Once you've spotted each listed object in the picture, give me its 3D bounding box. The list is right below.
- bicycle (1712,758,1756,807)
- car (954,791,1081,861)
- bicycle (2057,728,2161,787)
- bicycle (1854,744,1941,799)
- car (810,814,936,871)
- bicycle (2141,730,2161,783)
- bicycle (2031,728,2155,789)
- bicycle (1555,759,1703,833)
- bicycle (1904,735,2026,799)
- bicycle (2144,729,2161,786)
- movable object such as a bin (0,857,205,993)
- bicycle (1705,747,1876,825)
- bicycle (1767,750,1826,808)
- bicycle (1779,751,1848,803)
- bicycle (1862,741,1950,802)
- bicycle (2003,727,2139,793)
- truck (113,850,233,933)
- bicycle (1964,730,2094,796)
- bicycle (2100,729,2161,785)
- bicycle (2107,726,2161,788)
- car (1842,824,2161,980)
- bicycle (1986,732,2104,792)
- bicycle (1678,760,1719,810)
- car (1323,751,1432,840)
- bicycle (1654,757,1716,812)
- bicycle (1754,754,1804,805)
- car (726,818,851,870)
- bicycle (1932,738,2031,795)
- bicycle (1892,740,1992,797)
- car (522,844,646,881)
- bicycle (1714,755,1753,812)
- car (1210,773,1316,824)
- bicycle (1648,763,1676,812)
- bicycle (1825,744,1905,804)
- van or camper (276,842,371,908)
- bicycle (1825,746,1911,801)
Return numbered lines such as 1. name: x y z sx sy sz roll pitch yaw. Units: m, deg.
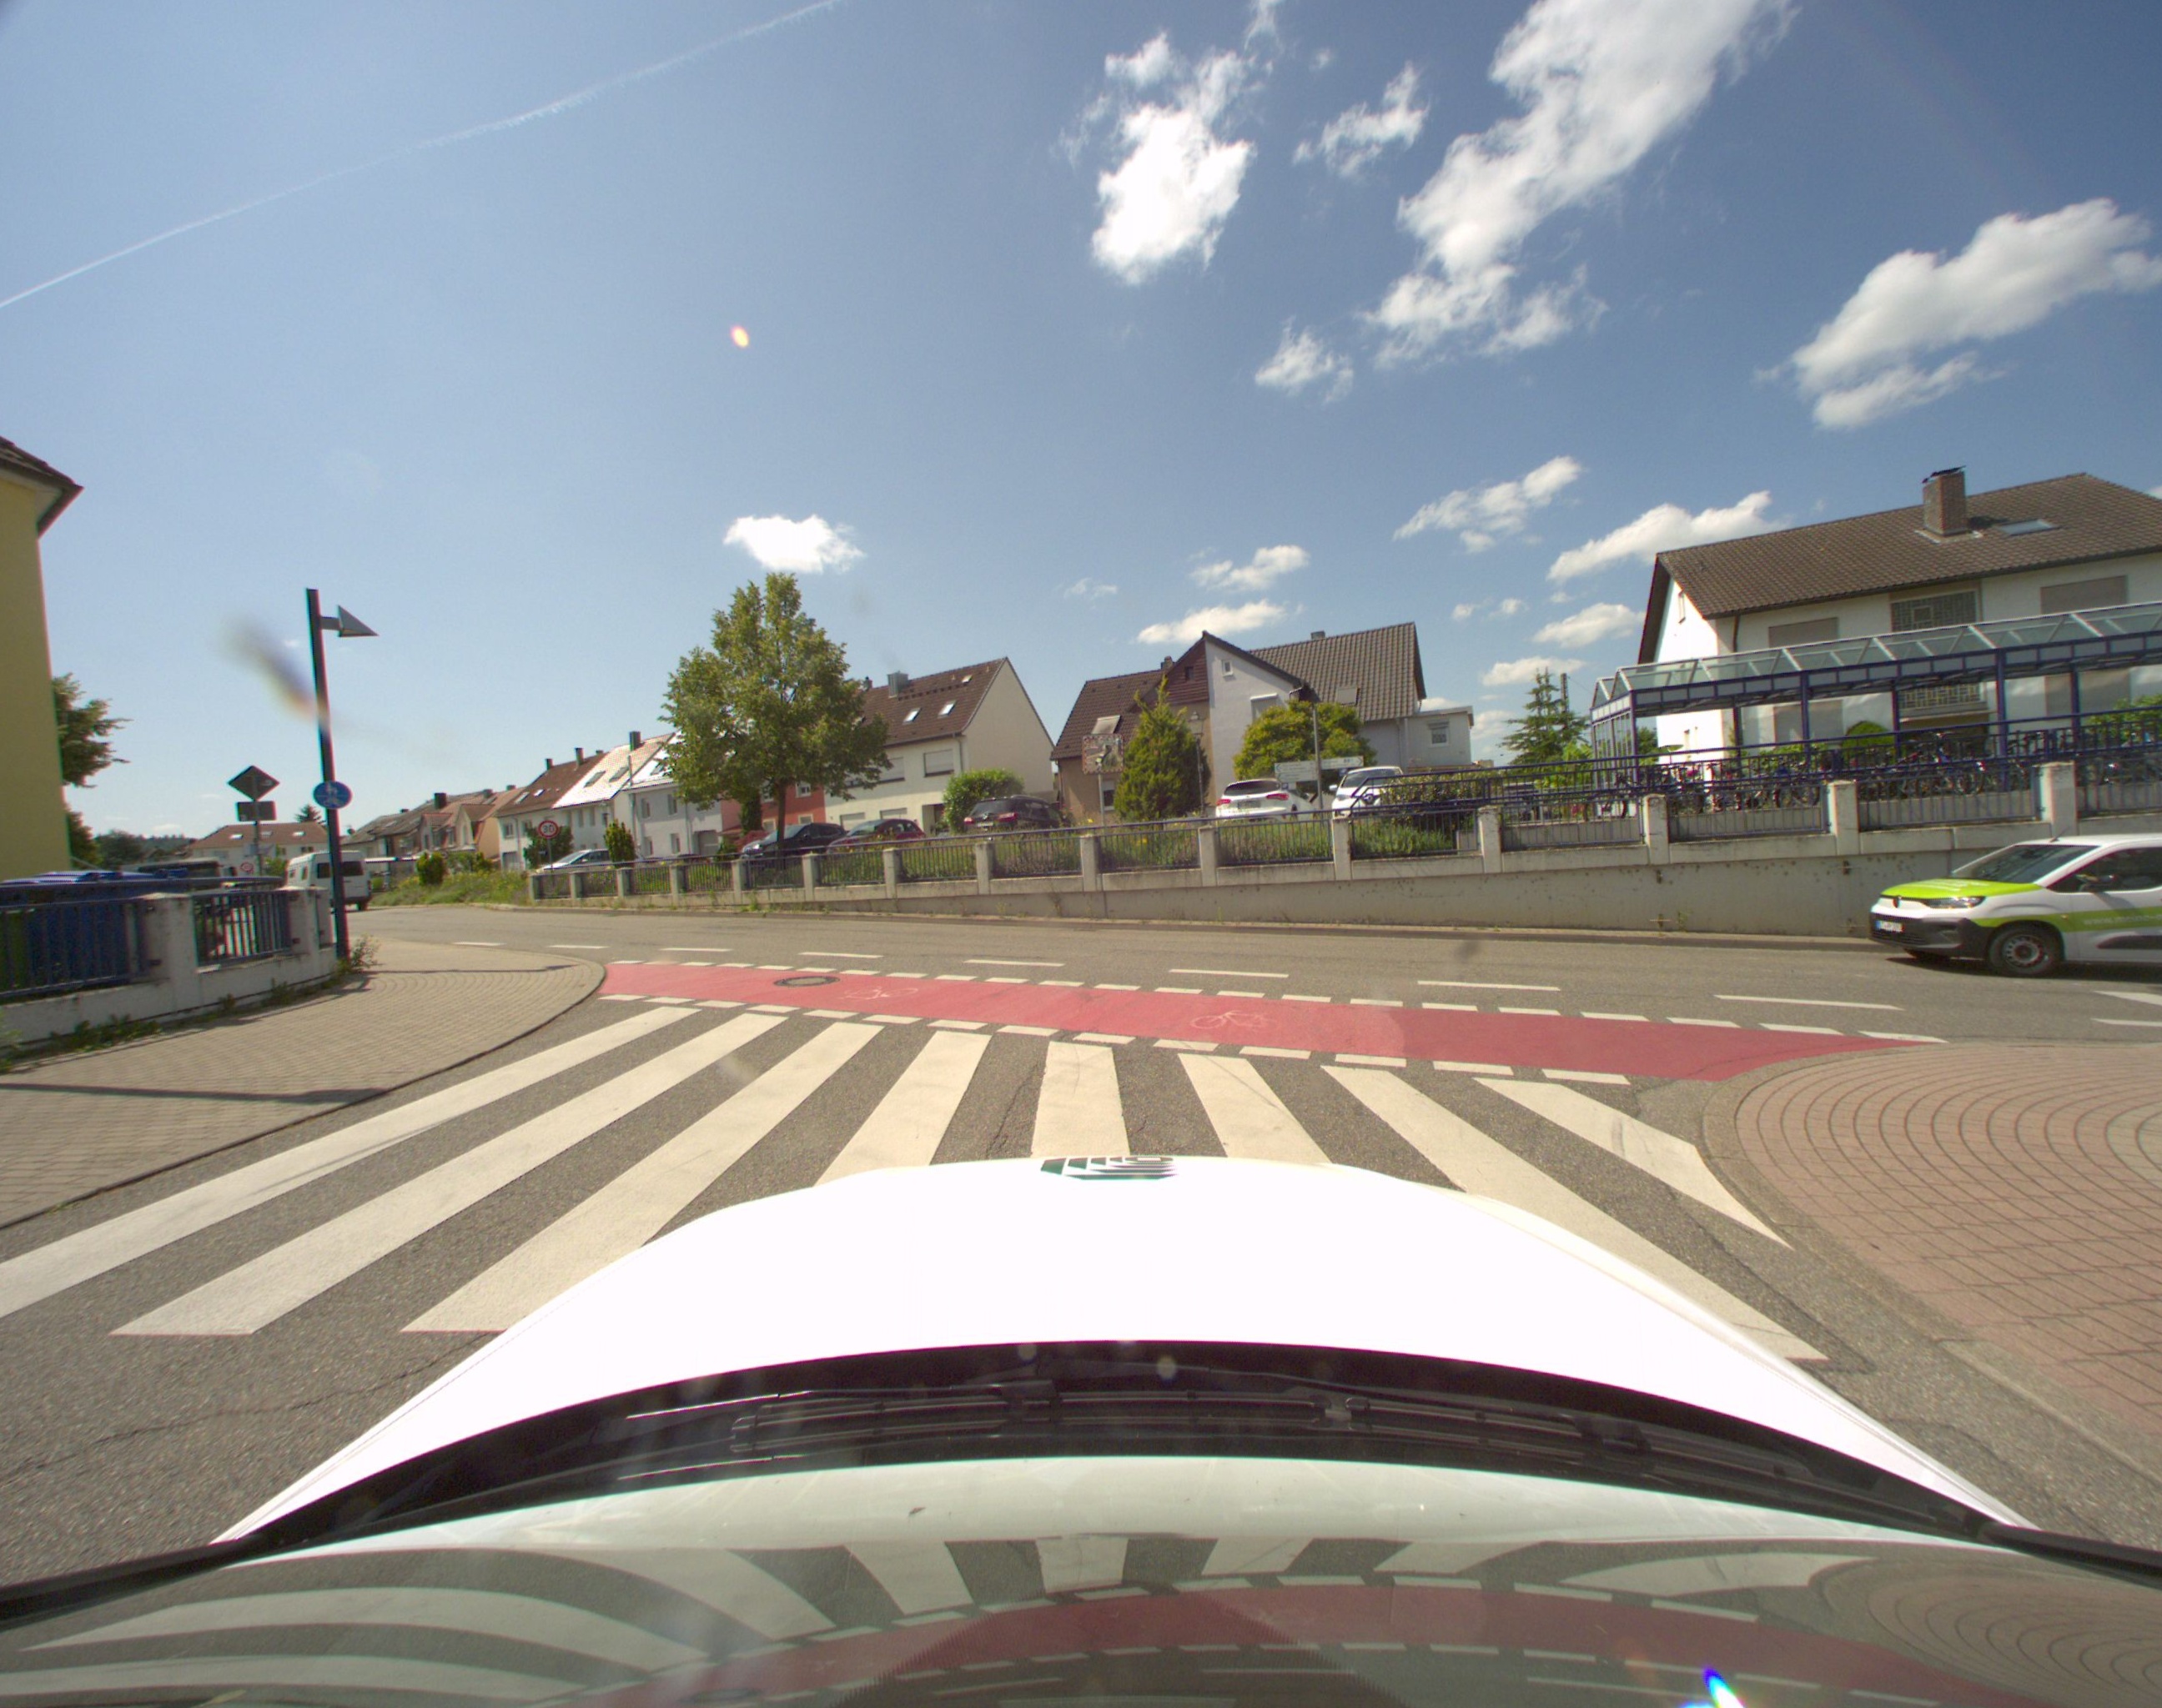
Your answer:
1. bicycle: 14.190 -1.530 17.732 0.369 0.994 1.978 -3 2 28
2. car: -1.687 -0.756 23.148 1.850 1.797 4.023 1 1 25
3. bicycle: 19.887 -1.827 15.627 0.514 0.994 1.976 -3 2 19
4. bicycle: 16.628 -1.652 16.631 0.410 0.994 1.976 -3 2 19
5. car: -6.290 -0.361 24.976 1.850 1.586 3.631 1 1 25
6. bicycle: 20.984 -1.883 15.160 0.514 0.994 1.976 -3 2 19
7. bicycle: 19.273 -1.788 15.569 0.514 0.994 1.976 -3 2 19
8. bicycle: 9.479 -0.983 14.150 2.097 1.125 0.334 -3 1 18
9. bicycle: 15.799 -1.516 14.636 0.528 0.994 2.294 -3 2 22
10. bicycle: 19.059 -1.694 13.733 0.511 0.994 2.052 -3 2 27
11. movable object such as a bin: -9.910 0.661 8.212 0.841 1.213 1.270 -3 1 -14
12. bicycle: 11.650 -1.099 13.432 2.097 1.125 0.394 -3 1 18
13. bicycle: 13.463 -1.391 15.369 0.431 0.994 2.116 -3 2 31
14. bicycle: 15.446 -1.594 17.217 0.422 0.994 1.977 -3 2 22
15. bicycle: 15.119 -1.483 14.986 0.431 0.994 2.295 -3 2 28
16. bicycle: 17.500 -1.617 14.472 0.528 0.994 2.200 -3 2 22
17. truck: -37.268 1.418 33.341 7.968 2.876 2.636 -1 3 38
18. bicycle: 16.777 -1.573 14.490 0.528 0.994 2.200 -3 2 22
19. bicycle: 20.445 -1.855 15.384 0.514 0.994 1.976 -3 2 19
20. bicycle: 18.236 -1.642 13.675 0.573 0.994 2.202 -3 2 33
21. car: 13.205 0.553 10.571 4.509 1.854 1.826 1 1 17
22. bicycle: 18.560 -1.748 15.742 0.514 0.994 1.976 -3 2 19
23. bicycle: 13.344 -1.475 17.621 0.369 0.994 1.978 -3 2 28
24. car: 6.921 -1.219 18.736 1.975 1.797 4.221 1 1 25
25. bicycle: 11.981 -1.355 16.211 0.329 0.994 2.086 -3 2 19
26. bicycle: 14.797 -1.556 17.295 0.369 0.994 1.978 -3 2 28
27. car: -9.562 -0.329 26.877 1.850 1.586 3.631 1 1 25
28. bicycle: 17.978 -1.727 16.313 0.514 0.994 1.811 -3 2 19
29. bicycle: 17.306 -1.688 16.419 0.514 0.994 1.976 -3 2 19
30. car: -21.555 0.339 35.489 1.725 1.488 4.283 1 1 31
31. bicycle: 12.450 -1.334 15.564 0.431 0.994 2.116 -2 2 35
32. car: 4.511 -1.286 19.786 1.808 1.019 3.479 1 1 25
33. bicycle: 12.651 -1.435 17.730 0.451 0.994 1.900 -2 2 36
34. bicycle: 14.586 -1.456 15.210 0.431 0.994 2.295 -3 2 28
35. van or camper: -32.464 0.873 34.864 5.323 2.630 2.017 -1 -1 36
36. bicycle: 16.187 -1.629 16.803 0.469 0.994 1.976 -3 2 19
